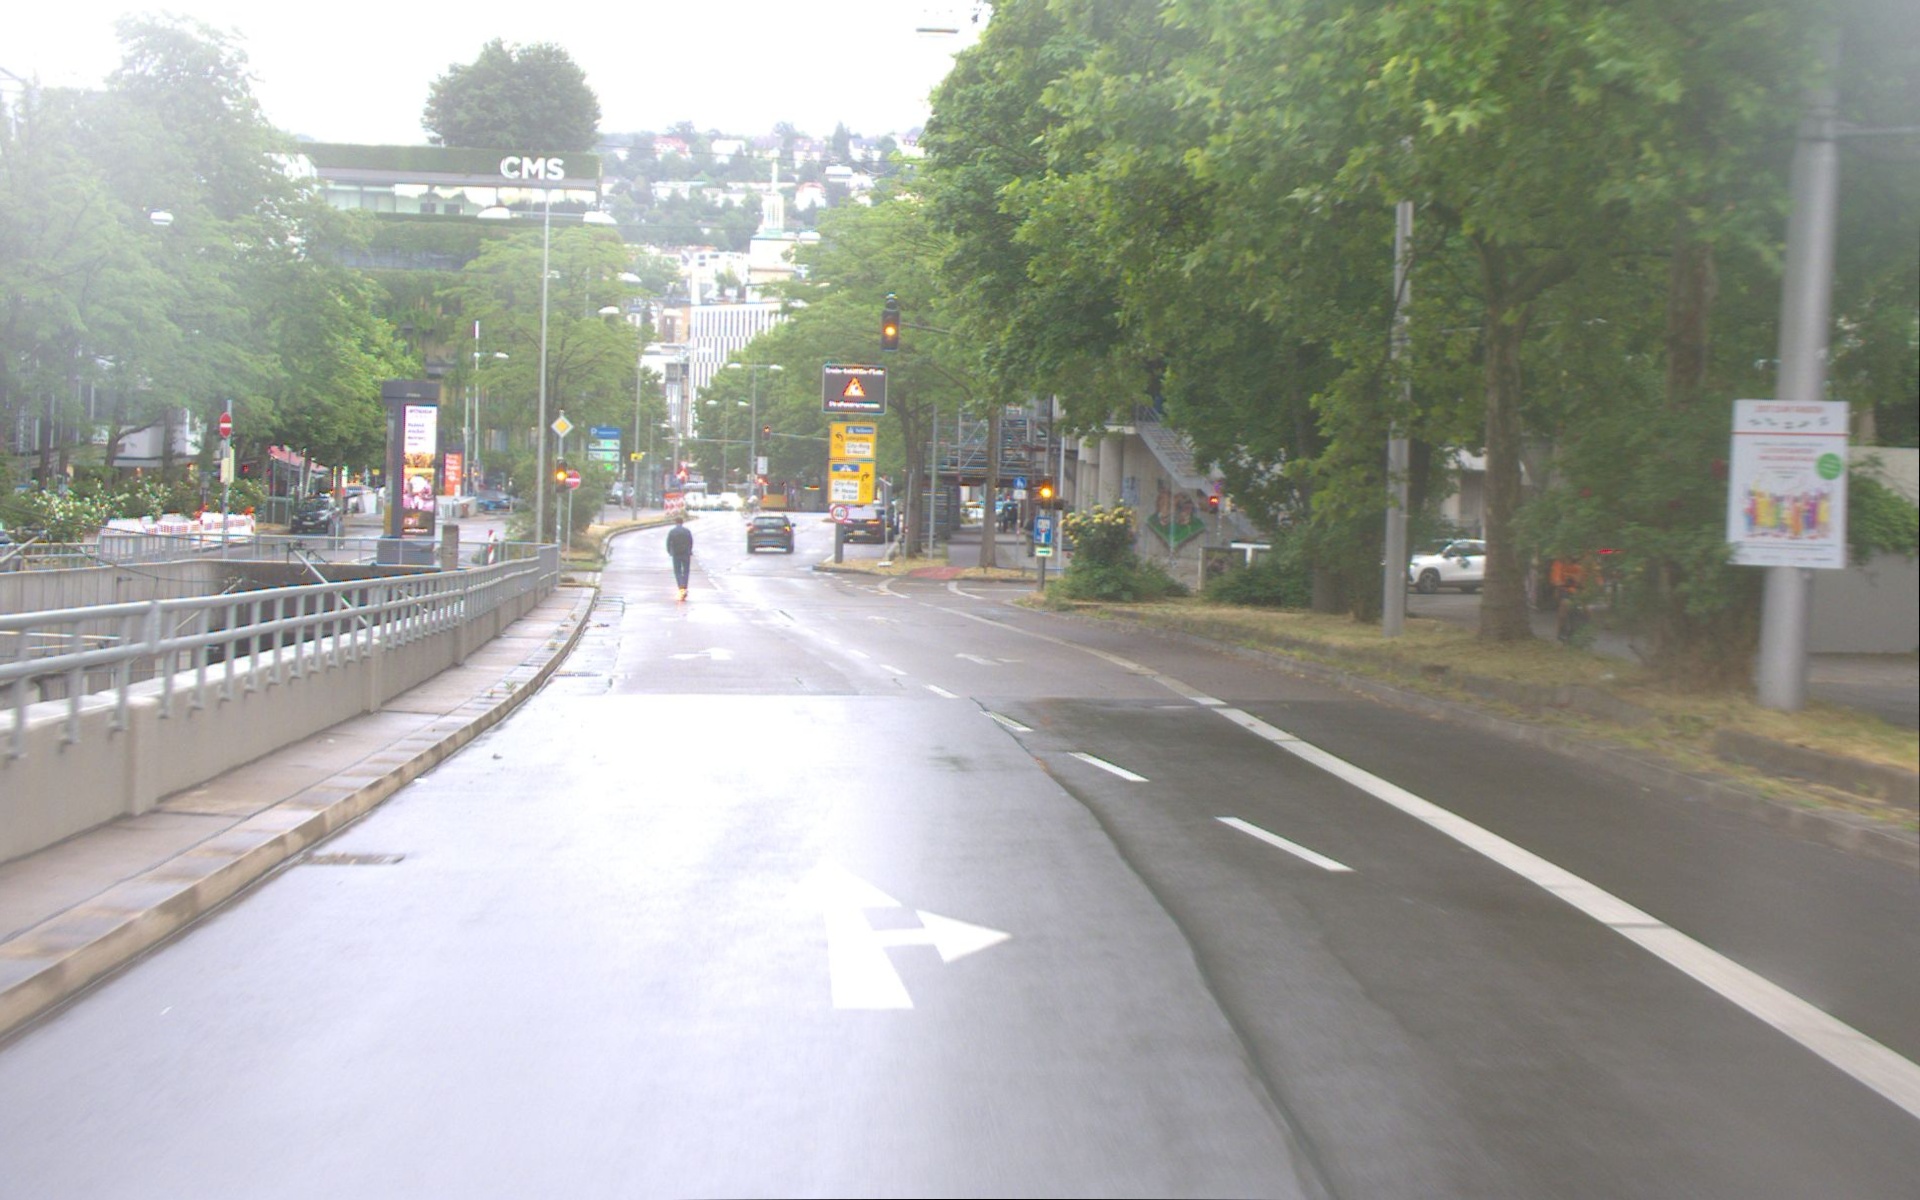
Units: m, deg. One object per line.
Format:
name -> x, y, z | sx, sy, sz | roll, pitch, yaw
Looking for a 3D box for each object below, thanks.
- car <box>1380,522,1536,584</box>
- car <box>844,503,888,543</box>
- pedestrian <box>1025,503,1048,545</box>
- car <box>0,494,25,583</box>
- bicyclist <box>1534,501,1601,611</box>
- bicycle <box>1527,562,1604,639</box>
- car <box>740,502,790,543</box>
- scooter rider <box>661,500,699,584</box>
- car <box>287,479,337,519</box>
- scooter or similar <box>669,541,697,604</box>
car -> 14.754, -1.390, 101.801 | 4.343, 1.678, 1.752 | 1, 2, -30
car -> -4.209, -3.460, 154.527 | 1.901, 1.678, 3.911 | 2, 1, -1
pedestrian -> 2.901, -2.879, 130.514 | 0.786, 1.552, 0.533 | 2, 1, -3
car -> -19.447, -1.203, 66.289 | 1.836, 1.707, 4.578 | 1, 2, -4
bicyclist -> 9.154, -0.667, 51.845 | 0.806, 1.622, 1.046 | 1, 1, 2
bicycle -> 9.144, -0.003, 51.960 | 0.806, 1.108, 2.198 | 1, 1, 2
car -> -7.663, -3.045, 134.753 | 1.745, 1.514, 4.107 | 2, 1, -5
scooter rider -> -6.611, -1.362, 81.140 | 0.808, 1.941, 0.822 | 2, 1, -5
car -> -28.688, -4.474, 152.275 | 1.780, 1.550, 3.895 | 2, 3, -6
scooter or similar -> -6.544, -0.659, 81.165 | 0.546, 1.413, 1.956 | 2, 1, -7
